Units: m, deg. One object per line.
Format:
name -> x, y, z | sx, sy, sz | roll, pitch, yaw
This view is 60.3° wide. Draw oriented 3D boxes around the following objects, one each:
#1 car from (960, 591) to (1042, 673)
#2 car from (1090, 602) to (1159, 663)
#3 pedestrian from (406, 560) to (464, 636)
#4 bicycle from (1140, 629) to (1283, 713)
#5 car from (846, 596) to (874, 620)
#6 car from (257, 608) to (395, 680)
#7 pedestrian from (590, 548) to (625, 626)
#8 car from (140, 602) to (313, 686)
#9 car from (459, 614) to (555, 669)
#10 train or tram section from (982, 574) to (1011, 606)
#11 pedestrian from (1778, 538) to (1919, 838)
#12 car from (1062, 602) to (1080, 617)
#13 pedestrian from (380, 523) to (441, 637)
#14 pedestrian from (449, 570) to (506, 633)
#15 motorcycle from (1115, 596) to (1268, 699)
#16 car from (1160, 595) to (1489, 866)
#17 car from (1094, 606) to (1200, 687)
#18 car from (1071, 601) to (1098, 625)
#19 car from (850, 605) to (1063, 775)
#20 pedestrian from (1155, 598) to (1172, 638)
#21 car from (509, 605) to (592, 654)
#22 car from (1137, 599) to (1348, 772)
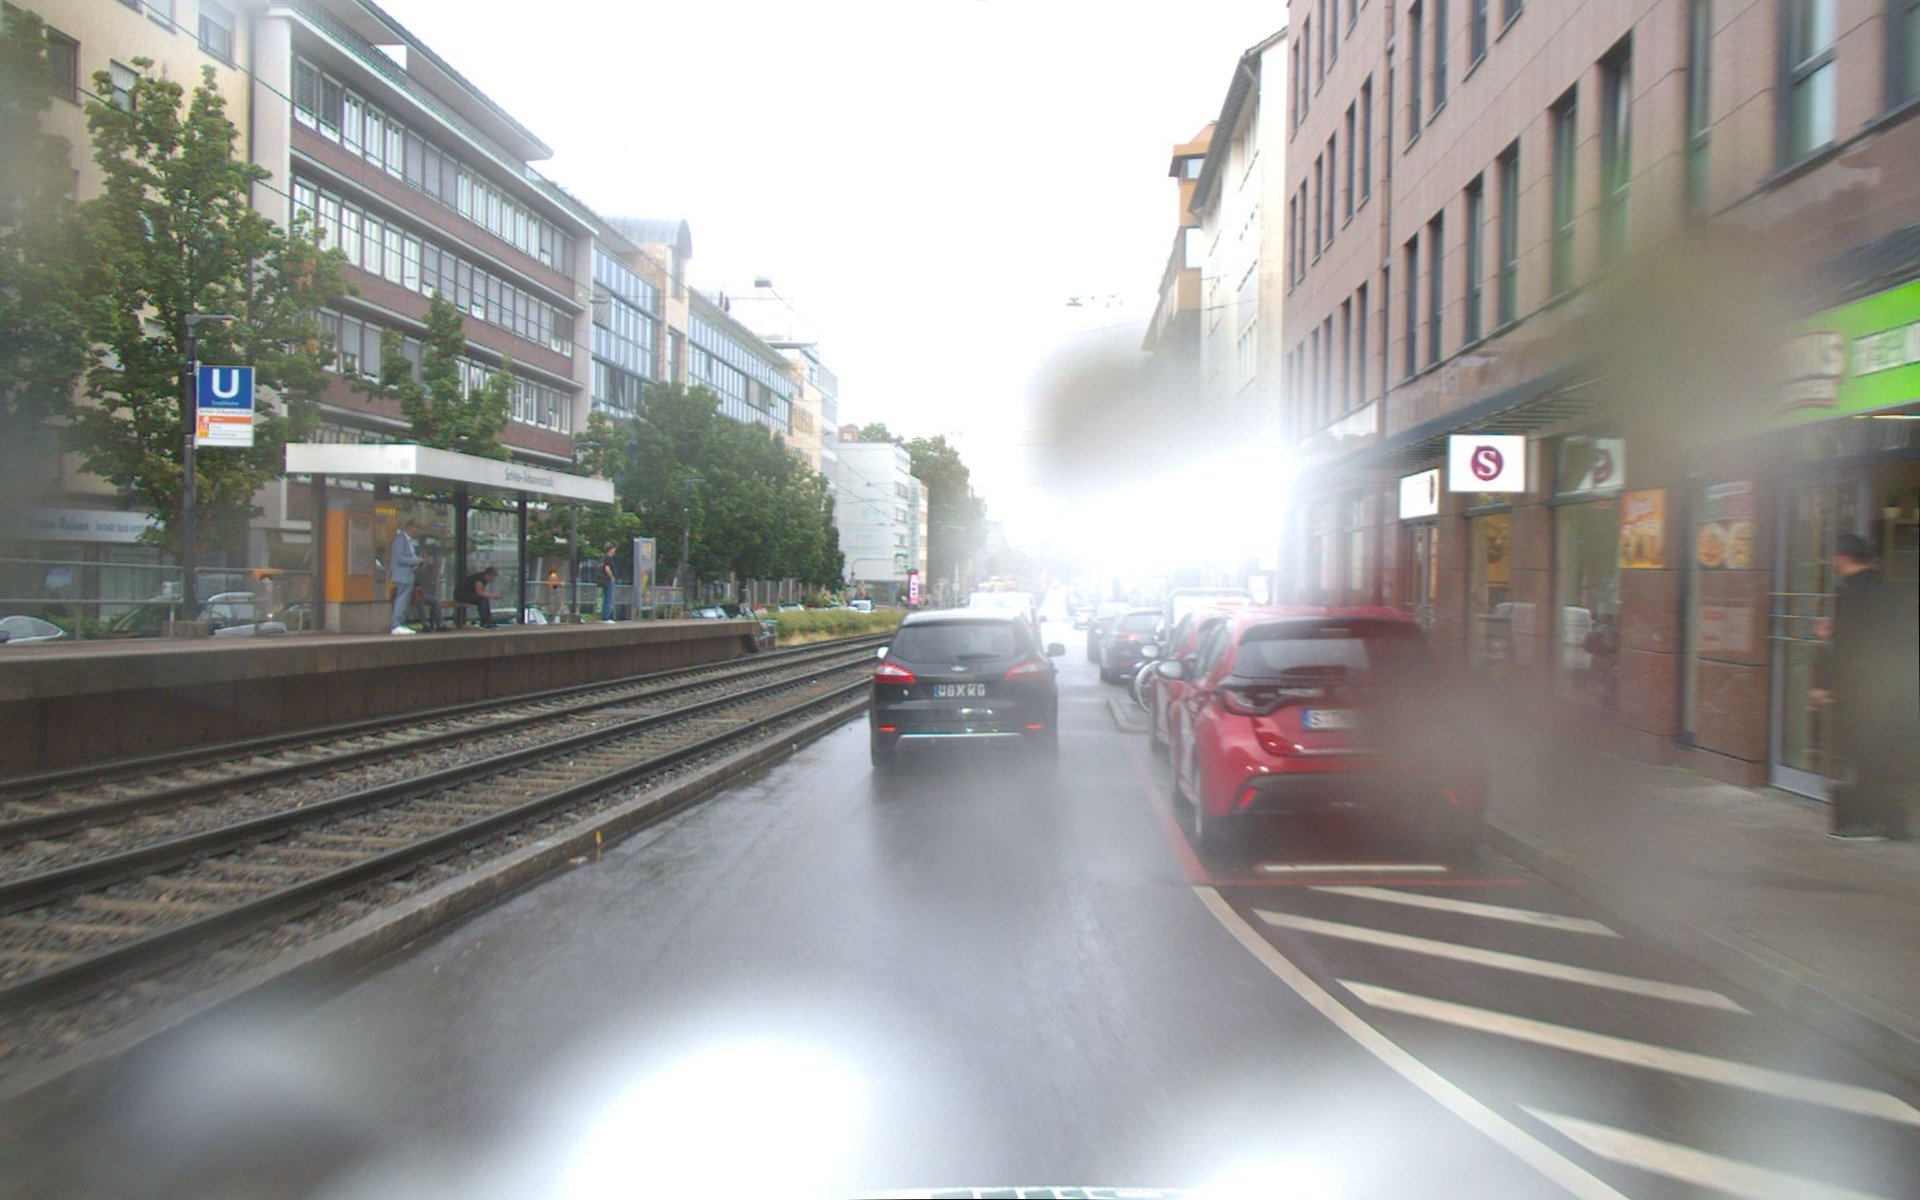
car -> 1.065, 0.766, 40.976 | 1.866, 1.897, 4.575 | 0, 0, 3
car -> 4.757, 0.893, 48.402 | 1.769, 1.660, 5.171 | 0, 0, 3
pedestrian -> -8.957, -0.034, 28.251 | 0.678, 1.271, 0.884 | 0, 0, 1
bicycle -> 3.167, 0.893, 20.895 | 1.749, 1.049, 0.462 | 0, -1, 2
car -> -7.887, 0.628, 130.578 | 1.867, 1.897, 4.574 | 0, 0, 0
car -> -13.793, 0.917, 36.180 | 1.536, 1.461, 3.736 | 0, 0, 0
pedestrian -> -8.359, -0.301, 39.247 | 0.642, 1.833, 0.850 | 0, 0, 1
car -> -13.596, 0.770, 30.886 | 1.536, 1.461, 3.736 | 0, 0, 0
car -> -12.866, 1.146, 47.155 | 1.536, 1.461, 4.238 | 0, 0, 0
train or tram section -> 4.525, -1.164, 204.711 | 3.440, 3.843, 11.333 | 0, 0, 1
pedestrian -> 5.200, 0.496, 9.615 | 0.589, 1.688, 0.626 | 0, -1, 4
car -> 12.226, 1.065, 181.880 | 1.866, 1.662, 4.576 | 0, 0, 4
pedestrian -> -8.563, -0.306, 25.799 | 0.642, 1.741, 0.850 | 0, 0, 1
pedestrian -> -8.866, 0.024, 30.421 | 0.875, 1.143, 0.849 | 0, 0, -7
motorcycle -> 3.331, 0.673, 23.781 | 2.041, 1.432, 0.799 | 0, -1, 22
car -> 2.304, 0.762, 11.355 | 1.663, 1.505, 3.869 | -2, -1, 5
car -> 3.744, 0.892, 33.791 | 1.737, 1.494, 4.610 | 0, 0, 1
car -> 9.025, 0.953, 120.002 | 1.866, 1.662, 4.576 | 0, 0, 4
car -> 0.076, 0.805, 16.406 | 1.866, 1.488, 3.446 | 0, 0, 4
pedestrian -> 8.695, 0.772, 70.687 | 0.681, 1.681, 0.966 | 0, 0, 3
car -> -12.810, 0.893, 51.952 | 1.536, 1.461, 4.178 | 0, 0, 0
car -> 2.708, 0.776, 16.611 | 1.663, 1.488, 3.869 | -2, -1, 4
